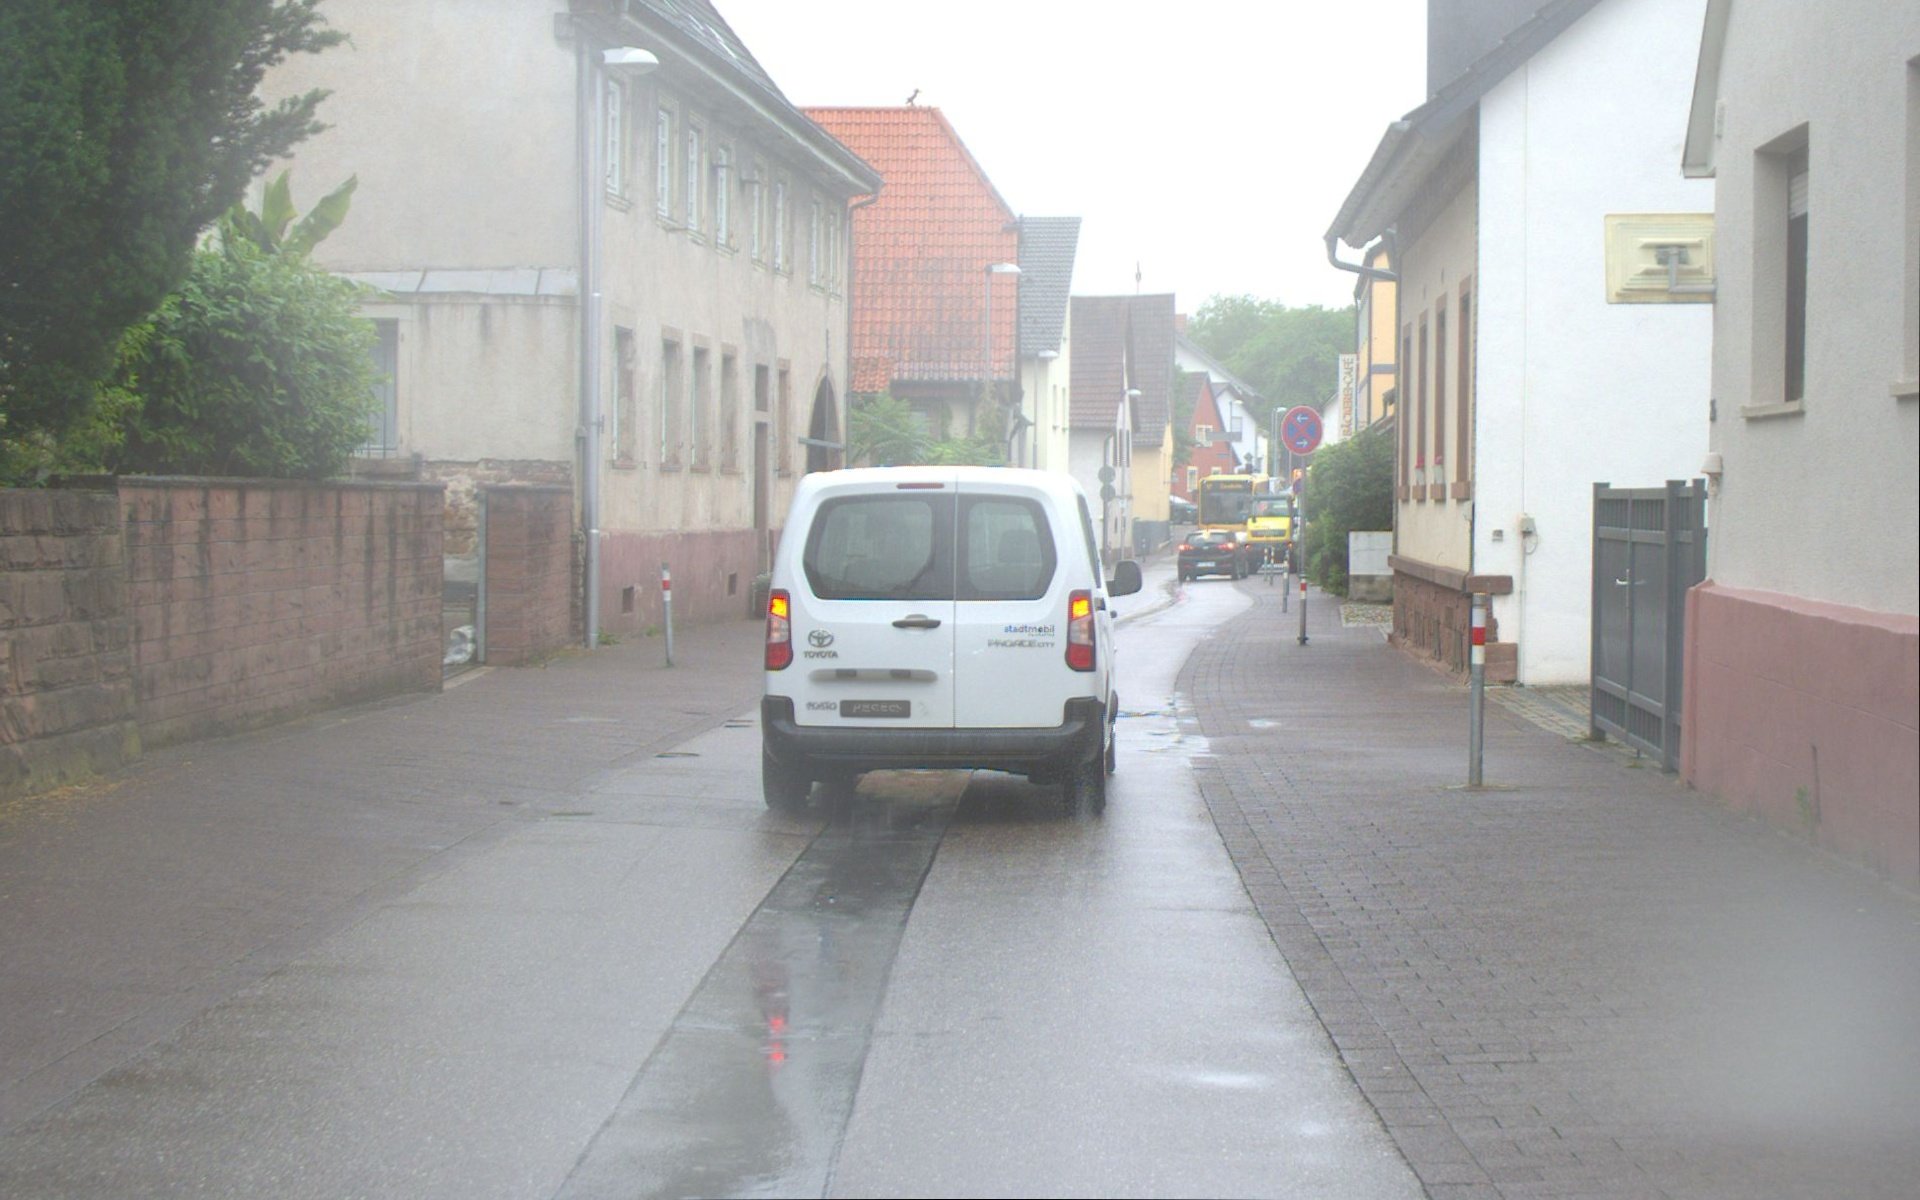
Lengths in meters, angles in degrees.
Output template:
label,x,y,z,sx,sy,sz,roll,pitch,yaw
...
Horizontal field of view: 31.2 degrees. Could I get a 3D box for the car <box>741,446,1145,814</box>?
label,x,y,z,sx,sy,sz,roll,pitch,yaw
car,0.021,0.130,19.102,1.795,1.812,4.101,-1,1,6

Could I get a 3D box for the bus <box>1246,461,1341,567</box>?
label,x,y,z,sx,sy,sz,roll,pitch,yaw
bus,10.795,-2.713,110.981,2.794,3.169,8.176,3,1,6

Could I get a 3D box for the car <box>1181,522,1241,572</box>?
label,x,y,z,sx,sy,sz,roll,pitch,yaw
car,7.284,-1.546,99.556,1.562,1.367,3.584,-1,1,7

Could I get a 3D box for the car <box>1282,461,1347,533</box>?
label,x,y,z,sx,sy,sz,roll,pitch,yaw
car,10.611,-3.067,103.010,1.827,2.007,3.693,2,1,6

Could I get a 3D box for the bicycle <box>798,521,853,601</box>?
label,x,y,z,sx,sy,sz,roll,pitch,yaw
bicycle,-2.034,-0.593,52.283,0.483,1.176,1.835,2,1,8

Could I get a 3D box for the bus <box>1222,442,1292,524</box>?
label,x,y,z,sx,sy,sz,roll,pitch,yaw
bus,13.157,-5.111,151.780,2.794,3.317,8.176,3,1,6
